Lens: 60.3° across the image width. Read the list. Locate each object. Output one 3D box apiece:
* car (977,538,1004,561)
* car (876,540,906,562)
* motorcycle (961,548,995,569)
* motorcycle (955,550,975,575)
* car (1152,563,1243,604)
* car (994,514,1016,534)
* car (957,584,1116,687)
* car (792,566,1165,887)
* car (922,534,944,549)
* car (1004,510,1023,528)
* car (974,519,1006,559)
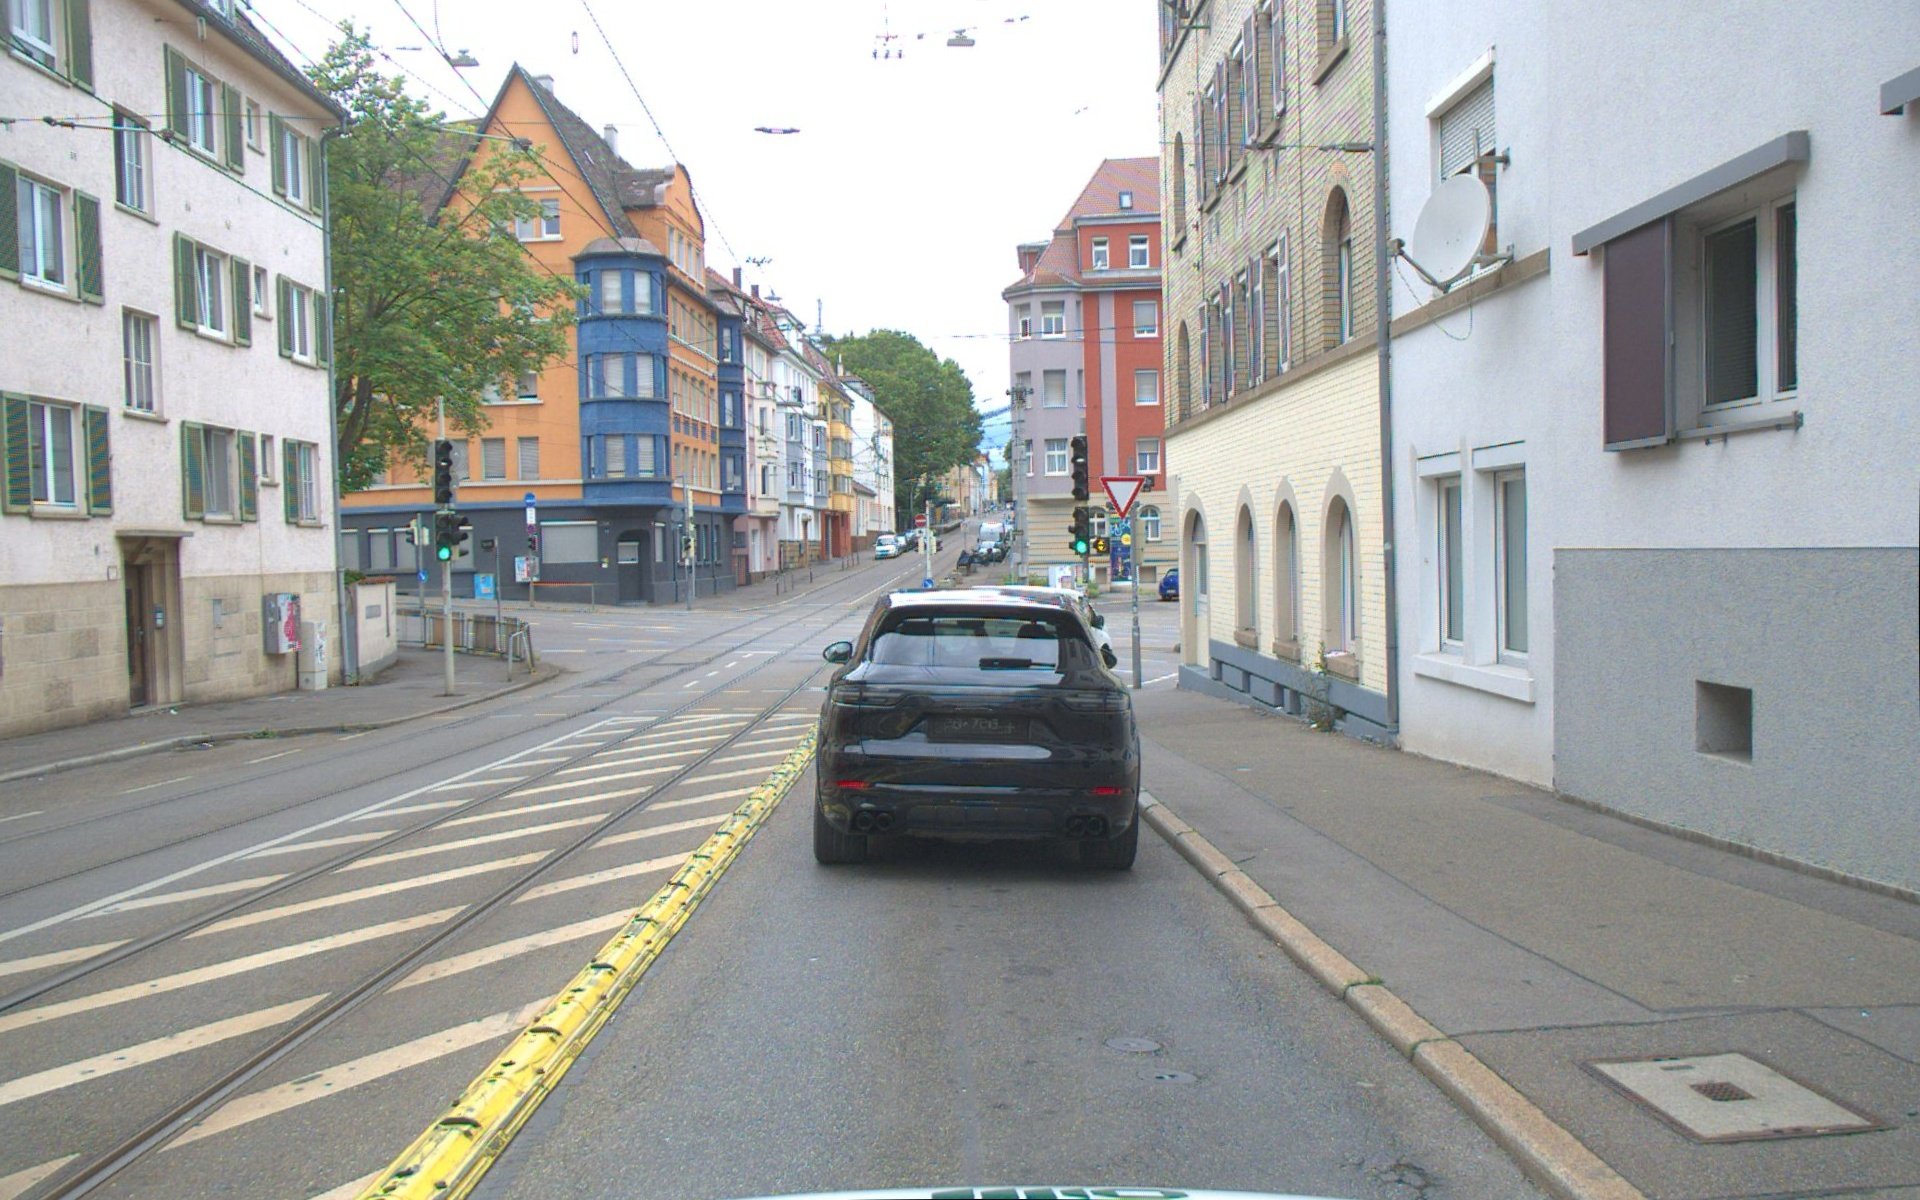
[{"bbox_3d":[2.261,-3.780,123.044,1.801,1.596,3.822,1,2,4],"label":"car"},{"bbox_3d":[-5.608,-4.014,134.850,1.952,1.721,4.003,1,2,4],"label":"car"},{"bbox_3d":[1.199,-2.745,109.800,2.135,1.349,0.699,1,2,-7],"label":"motorcycle"},{"bbox_3d":[0.273,-2.268,99.364,0.843,1.349,2.182,-6,3,-6],"label":"motorcycle"},{"bbox_3d":[10.565,-0.770,73.470,4.107,1.561,1.889,-4,5,-42],"label":"car"},{"bbox_3d":[5.162,-8.659,189.765,2.220,2.221,4.773,1,2,4],"label":"car"},{"bbox_3d":[1.653,0.663,34.307,1.828,1.916,4.283,2,1,24],"label":"car"},{"bbox_3d":[0.276,0.641,11.160,1.981,1.670,4.359,2,1,5],"label":"car"},{"bbox_3d":[-2.459,-5.349,150.891,1.651,1.349,3.665,1,2,4],"label":"car"},{"bbox_3d":[6.837,-10.300,210.043,2.220,2.221,4.773,1,2,4],"label":"car"},{"bbox_3d":[2.338,-4.749,128.377,2.220,2.940,4.773,1,2,4],"label":"car"}]
